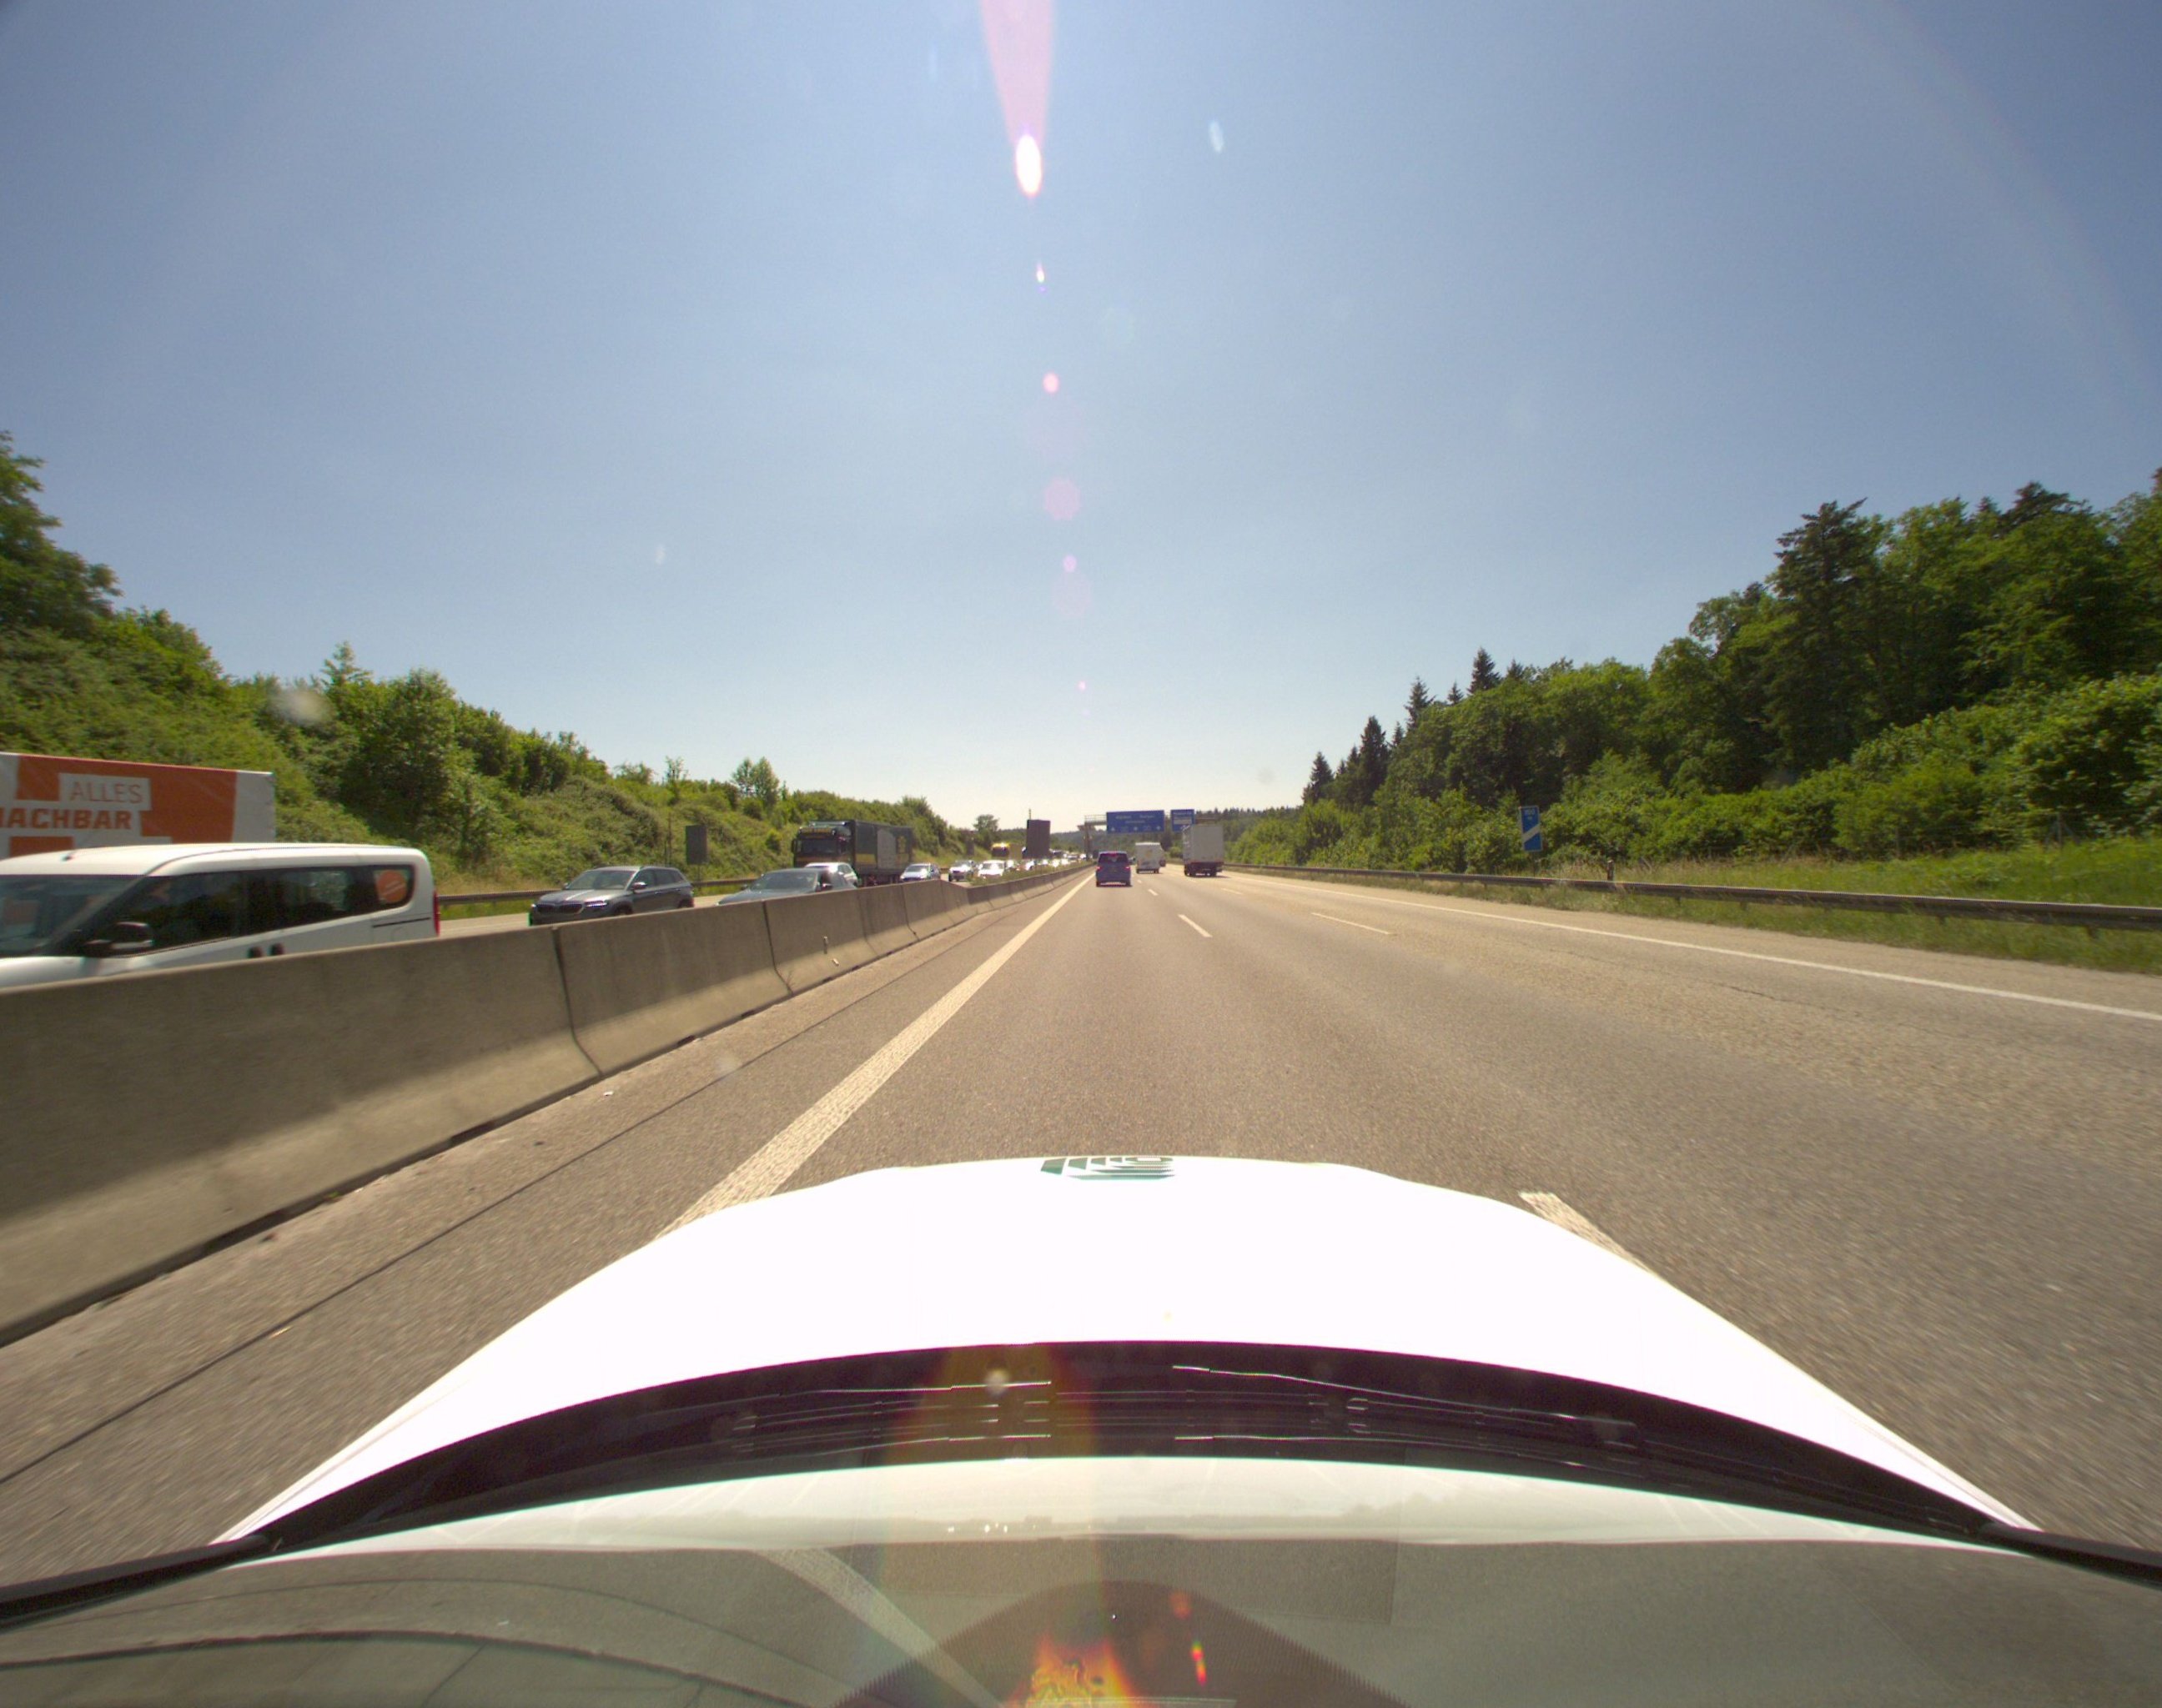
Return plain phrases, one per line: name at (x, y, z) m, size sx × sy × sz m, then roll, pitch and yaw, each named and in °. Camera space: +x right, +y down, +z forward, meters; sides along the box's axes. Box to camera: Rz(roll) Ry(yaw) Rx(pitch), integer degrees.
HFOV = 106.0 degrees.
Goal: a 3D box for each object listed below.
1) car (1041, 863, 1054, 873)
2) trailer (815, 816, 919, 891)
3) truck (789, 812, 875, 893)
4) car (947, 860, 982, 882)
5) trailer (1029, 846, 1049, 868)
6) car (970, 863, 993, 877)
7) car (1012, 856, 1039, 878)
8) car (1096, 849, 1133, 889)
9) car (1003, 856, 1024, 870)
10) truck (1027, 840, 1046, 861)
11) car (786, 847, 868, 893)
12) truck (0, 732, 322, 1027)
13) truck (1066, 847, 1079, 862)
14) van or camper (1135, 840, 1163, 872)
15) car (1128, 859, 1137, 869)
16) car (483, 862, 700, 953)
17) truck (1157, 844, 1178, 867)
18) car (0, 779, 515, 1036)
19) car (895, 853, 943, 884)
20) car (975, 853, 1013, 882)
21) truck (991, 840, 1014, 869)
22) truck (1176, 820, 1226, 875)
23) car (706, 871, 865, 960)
car at (-5.764, 2.352, 139.084) m, size 1.768 × 1.613 × 4.561 m, roll 0°, pitch -1°, yaw 3°
trailer at (-13.474, 0.077, 52.864) m, size 2.831 × 4.262 × 12.793 m, roll 0°, pitch -1°, yaw 2°
truck at (-13.778, -0.041, 45.464) m, size 2.807 × 4.203 × 5.633 m, roll 0°, pitch -1°, yaw 3°
car at (-9.125, 1.309, 64.226) m, size 1.804 × 1.629 × 5.222 m, roll 0°, pitch -1°, yaw 3°
trailer at (-8.802, 0.668, 172.857) m, size 2.769 × 4.305 × 11.721 m, roll -2°, pitch -1°, yaw 4°
car at (-11.338, 1.832, 93.371) m, size 1.804 × 1.513 × 4.801 m, roll 0°, pitch -1°, yaw 3°
car at (-4.594, 1.081, 67.560) m, size 1.821 × 1.764 × 4.991 m, roll 0°, pitch -1°, yaw 1°
car at (1.819, 0.759, 44.894) m, size 1.902 × 2.013 × 4.002 m, roll -2°, pitch 1°, yaw 2°
car at (-7.930, 1.066, 95.750) m, size 1.804 × 1.629 × 5.385 m, roll 0°, pitch -1°, yaw 3°
truck at (-9.207, -0.604, 167.439) m, size 2.768 × 4.114 × 7.039 m, roll -2°, pitch -1°, yaw 5°
car at (-10.601, 0.664, 34.432) m, size 1.821 × 1.764 × 4.991 m, roll 0°, pitch -1°, yaw 1°
truck at (-11.710, 0.251, 7.693) m, size 2.559 × 2.845 × 6.755 m, roll 0°, pitch -1°, yaw 2°
truck at (-1.545, 0.163, 154.728) m, size 2.111 × 2.842 × 6.216 m, roll 0°, pitch -1°, yaw 3°
van or camper at (6.858, 0.099, 82.927) m, size 2.593 × 3.078 × 7.187 m, roll 0°, pitch 1°, yaw 3°
car at (10.246, 1.994, 162.953) m, size 1.810 × 1.794 × 3.896 m, roll 0°, pitch -1°, yaw 3°
car at (-10.756, 1.080, 18.443) m, size 1.821 × 1.764 × 4.991 m, roll 0°, pitch -1°, yaw 1°
truck at (14.692, 0.215, 138.735) m, size 2.916 × 3.575 × 8.533 m, roll -2°, pitch 0°, yaw 3°
car at (-7.468, 0.360, 6.807) m, size 1.821 × 1.565 × 5.111 m, roll 0°, pitch -1°, yaw 1°
car at (-9.813, 0.875, 49.596) m, size 1.821 × 1.764 × 4.991 m, roll 0°, pitch -1°, yaw 1°
car at (-5.605, 0.879, 52.817) m, size 1.821 × 1.764 × 4.991 m, roll 0°, pitch -1°, yaw 1°
truck at (-11.251, 0.078, 117.640) m, size 2.593 × 4.065 × 6.133 m, roll 0°, pitch -1°, yaw 1°
truck at (9.665, -0.411, 66.624) m, size 2.774 × 4.128 × 9.739 m, roll 0°, pitch -1°, yaw 1°
car at (-6.663, 1.291, 19.038) m, size 1.821 × 1.764 × 4.991 m, roll 0°, pitch -1°, yaw 1°
